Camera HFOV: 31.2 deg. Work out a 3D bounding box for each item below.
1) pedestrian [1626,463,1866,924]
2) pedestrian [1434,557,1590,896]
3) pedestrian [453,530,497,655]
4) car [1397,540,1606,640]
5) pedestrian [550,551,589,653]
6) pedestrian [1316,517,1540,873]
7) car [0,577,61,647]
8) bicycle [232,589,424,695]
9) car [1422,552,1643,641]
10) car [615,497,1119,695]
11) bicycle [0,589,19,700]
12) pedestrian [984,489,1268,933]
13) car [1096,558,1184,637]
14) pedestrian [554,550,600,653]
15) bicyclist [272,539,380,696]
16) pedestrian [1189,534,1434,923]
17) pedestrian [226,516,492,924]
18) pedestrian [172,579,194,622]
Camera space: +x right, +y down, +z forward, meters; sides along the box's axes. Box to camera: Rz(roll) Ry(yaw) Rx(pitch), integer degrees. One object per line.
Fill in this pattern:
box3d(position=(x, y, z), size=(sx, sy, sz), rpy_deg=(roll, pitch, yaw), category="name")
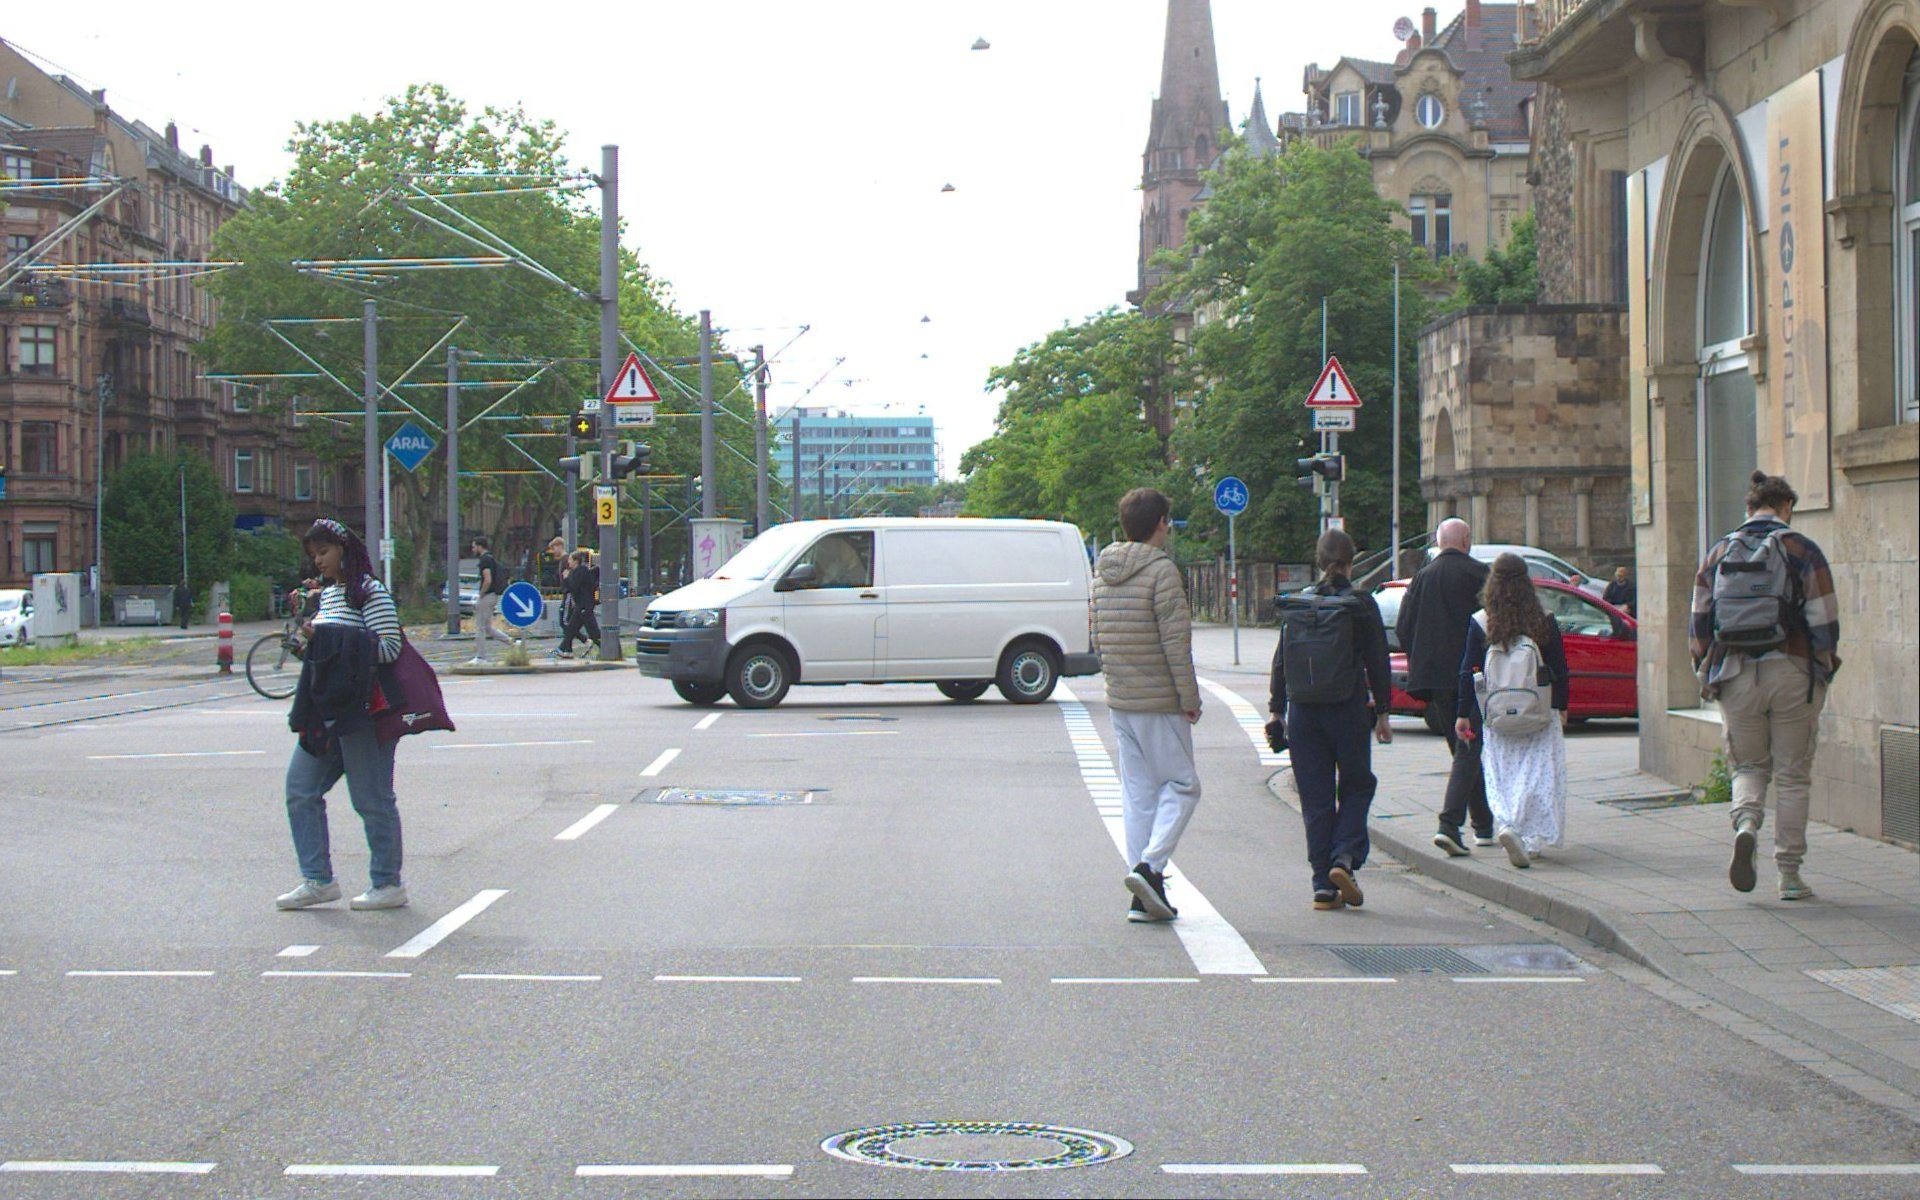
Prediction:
box3d(position=(3.188, 0.363, 13.888), size=(0.627, 1.772, 1.132), rpy_deg=(-3, -1, 25), category="pedestrian")
box3d(position=(2.661, 0.593, 16.643), size=(0.700, 1.587, 0.831), rpy_deg=(1, 0, 8), category="pedestrian")
box3d(position=(-6.981, -0.106, 49.527), size=(0.573, 1.788, 0.519), rpy_deg=(1, 0, -5), category="pedestrian")
box3d(position=(10.734, -0.202, 68.313), size=(3.799, 1.897, 2.000), rpy_deg=(1, 0, 0), category="car")
box3d(position=(-5.932, 0.031, 52.256), size=(0.545, 1.532, 0.466), rpy_deg=(1, 0, -5), category="pedestrian")
box3d(position=(2.410, 0.469, 17.702), size=(0.917, 1.778, 0.646), rpy_deg=(1, 0, 37), category="pedestrian")
box3d(position=(-22.191, 0.245, 79.342), size=(1.894, 1.552, 3.836), rpy_deg=(1, 0, -1), category="car")
box3d(position=(-6.874, 0.457, 37.399), size=(1.937, 1.132, 0.736), rpy_deg=(1, 0, -21), category="bicycle")
box3d(position=(10.772, -0.073, 64.904), size=(3.799, 1.595, 2.000), rpy_deg=(1, 0, 0), category="car")
box3d(position=(-0.961, -0.024, 36.046), size=(4.863, 1.960, 1.989), rpy_deg=(1, 0, -26), category="car")
box3d(position=(-10.685, 0.446, 35.231), size=(1.899, 1.138, 0.629), rpy_deg=(1, 0, -29), category="bicycle")
box3d(position=(0.694, 0.454, 14.452), size=(1.011, 1.807, 0.585), rpy_deg=(1, 0, -23), category="pedestrian")
box3d(position=(4.692, -0.074, 90.096), size=(1.993, 2.007, 4.000), rpy_deg=(1, 0, -1), category="car")
box3d(position=(-5.748, 0.020, 51.661), size=(0.653, 1.532, 0.466), rpy_deg=(1, 0, -5), category="pedestrian")
box3d(position=(-6.893, 0.186, 37.354), size=(1.038, 1.678, 0.645), rpy_deg=(1, 0, -20), category="bicyclist")
box3d(position=(1.557, 0.543, 15.149), size=(0.627, 1.647, 0.994), rpy_deg=(1, 0, 37), category="pedestrian")
box3d(position=(-2.561, 0.490, 14.675), size=(0.671, 1.674, 0.866), rpy_deg=(1, 0, 38), category="pedestrian")
box3d(position=(-26.737, 0.015, 118.304), size=(0.452, 1.455, 0.524), rpy_deg=(1, 0, 39), category="pedestrian")
